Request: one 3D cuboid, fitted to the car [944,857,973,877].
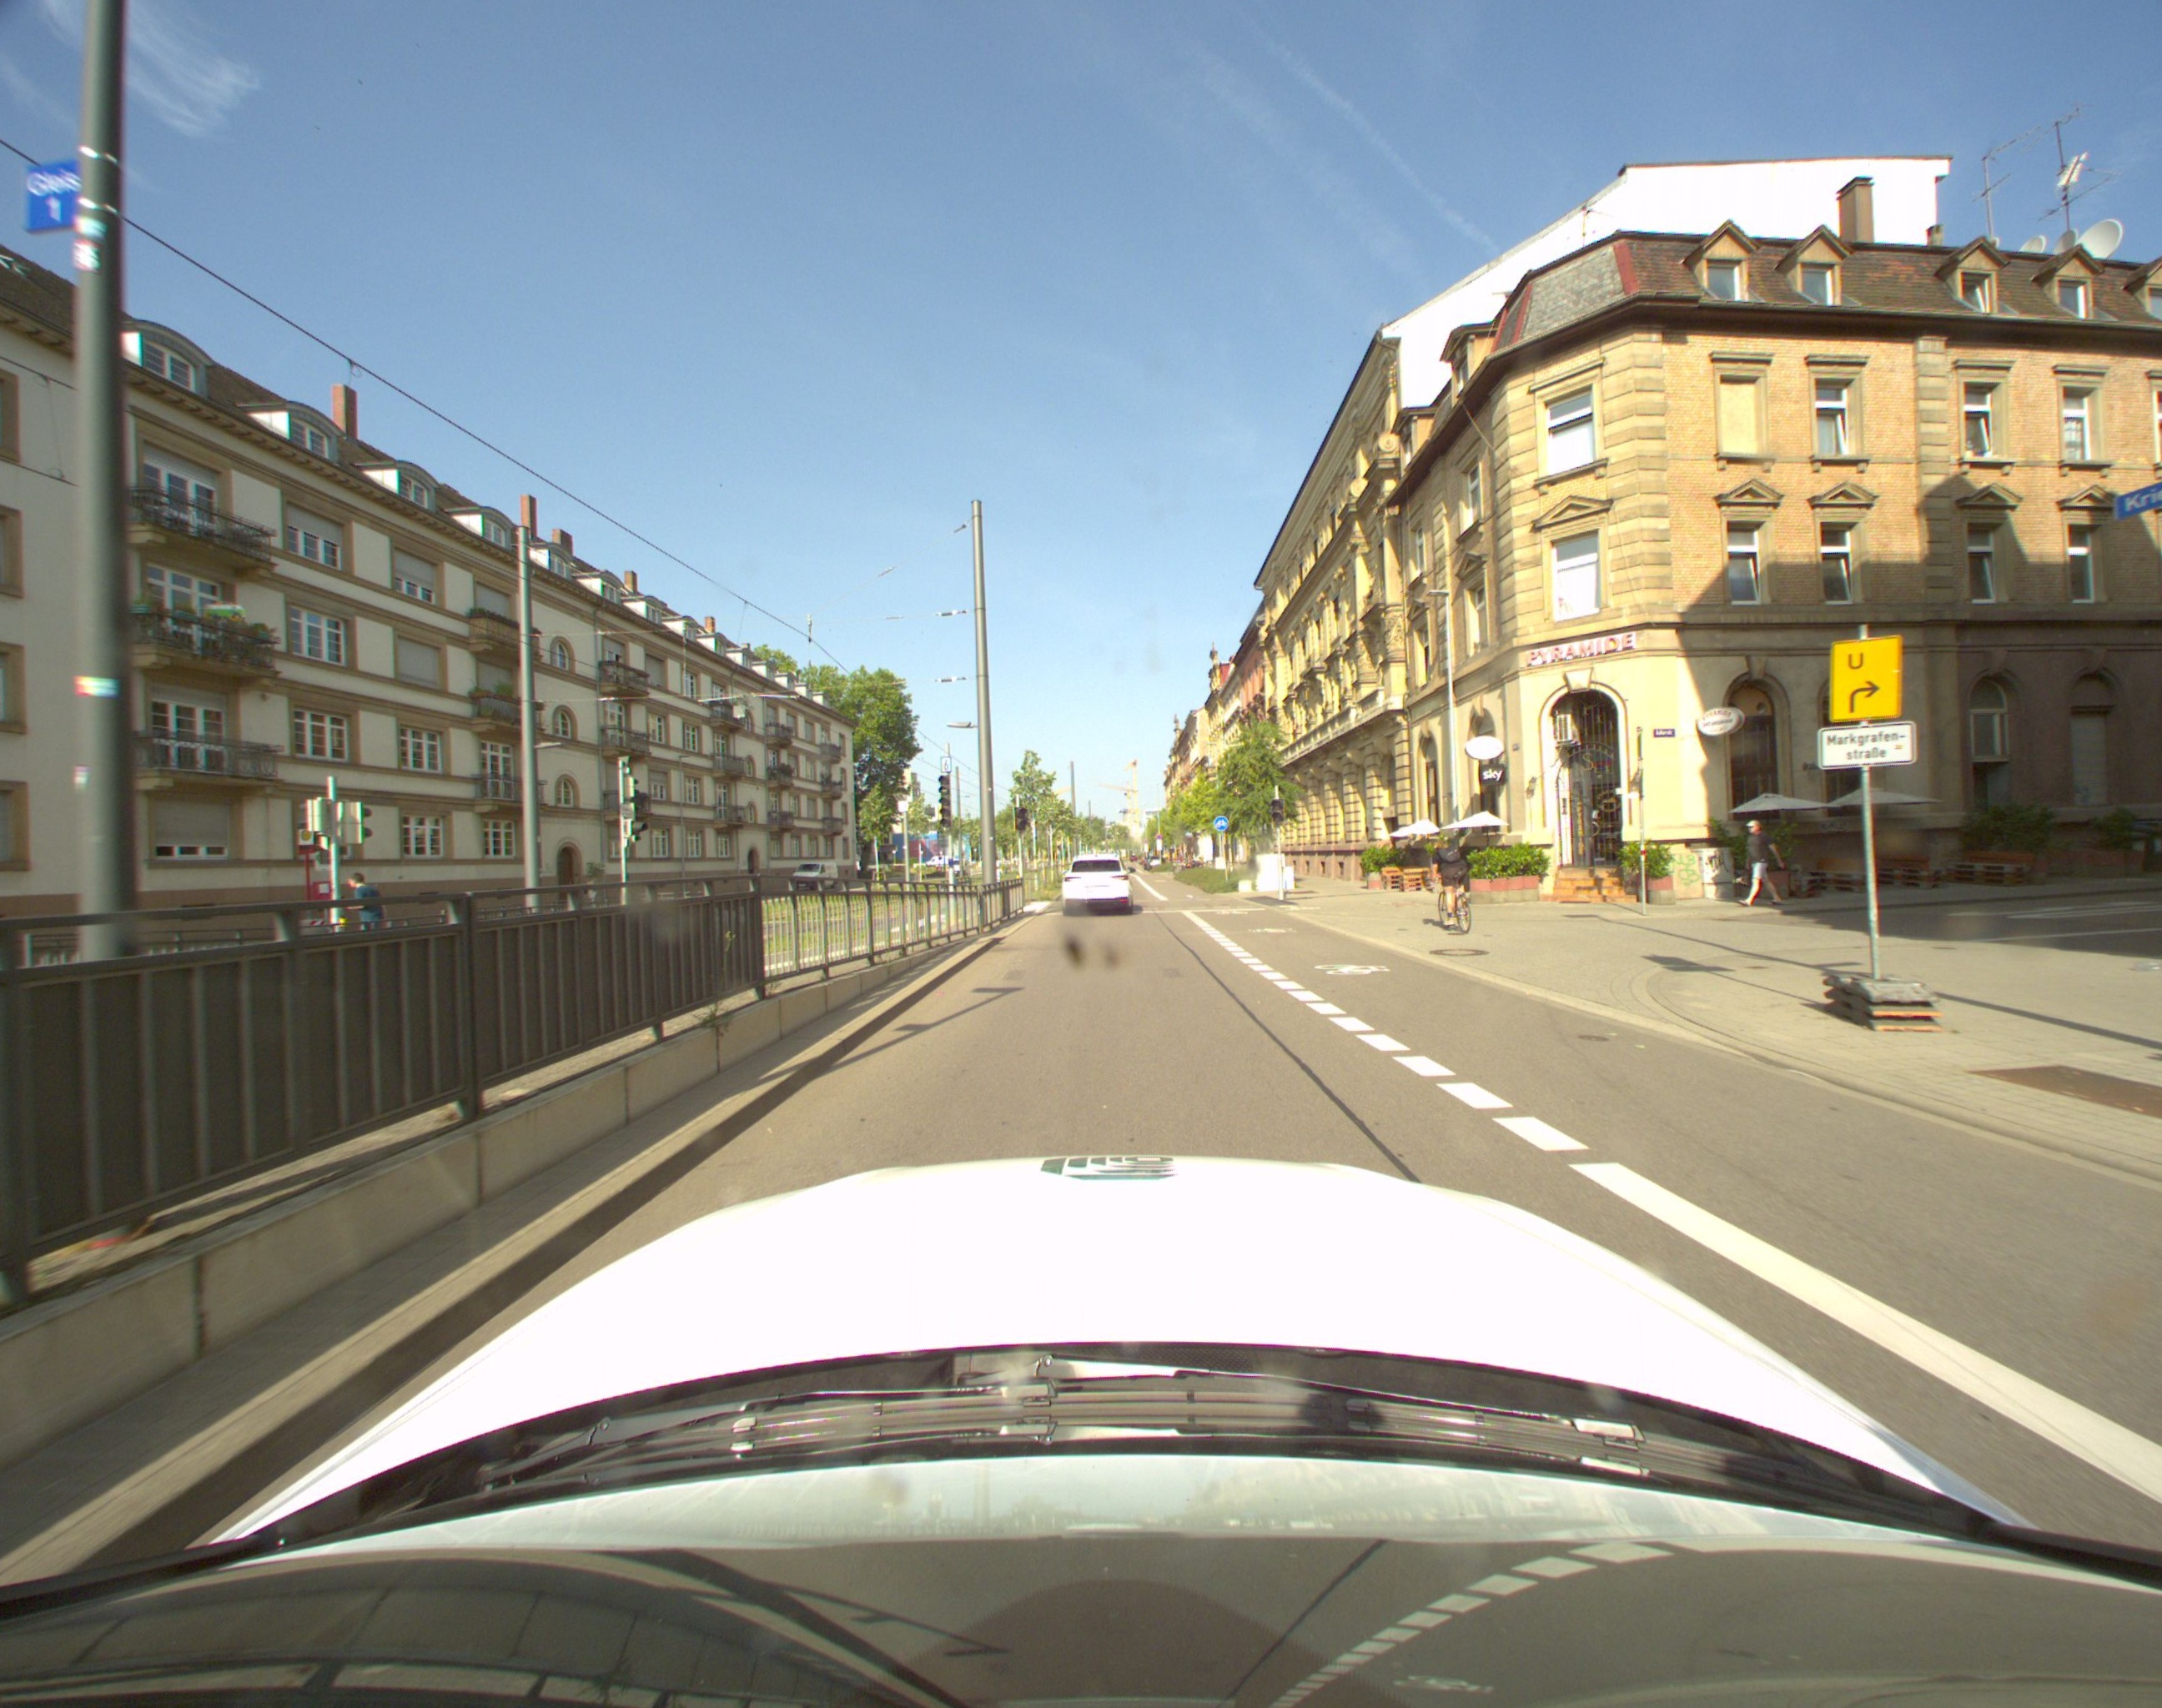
[{"bbox_3d":[-12.833,1.341,85.630,1.985,1.895,5.050,-3,0,3],"label":"car"}]

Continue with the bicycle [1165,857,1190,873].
[{"bbox_3d":[7.427,0.834,62.675,1.778,1.054,0.373,-4,0,0],"label":"bicycle"}]

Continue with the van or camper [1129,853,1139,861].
[{"bbox_3d":[11.533,0.681,177.908,1.986,1.655,4.002,-3,0,2],"label":"van or camper"}]

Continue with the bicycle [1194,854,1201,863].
[{"bbox_3d":[14.718,0.596,102.966,0.450,1.083,1.445,-2,0,-7],"label":"bicycle"}]

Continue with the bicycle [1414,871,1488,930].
[{"bbox_3d":[6.594,0.808,14.594,0.503,0.953,1.784,-1,0,0],"label":"bicycle"}]

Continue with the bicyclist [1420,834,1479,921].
[{"bbox_3d":[6.575,0.410,14.570,0.582,1.482,0.931,-1,-1,0],"label":"bicyclist"}]

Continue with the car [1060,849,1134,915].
[{"bbox_3d":[0.493,0.707,22.362,1.810,1.590,4.409,-2,0,2],"label":"car"}]

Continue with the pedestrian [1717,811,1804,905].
[{"bbox_3d":[13.797,0.065,16.563,0.859,1.806,0.993,-4,1,-2],"label":"pedestrian"}]

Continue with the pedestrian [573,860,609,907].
[{"bbox_3d":[-21.960,1.317,36.504,0.839,2.068,1.158,-1,0,3],"label":"pedestrian"}]

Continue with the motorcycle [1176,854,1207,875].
[{"bbox_3d":[7.771,0.723,57.265,2.048,1.287,0.698,-4,1,-31],"label":"motorcycle"}]

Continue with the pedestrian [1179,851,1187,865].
[{"bbox_3d":[13.287,0.497,105.950,0.821,1.696,0.792,-4,0,-2],"label":"pedestrian"}]

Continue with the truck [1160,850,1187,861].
[{"bbox_3d":[20.809,0.380,183.779,5.841,2.318,2.224,-2,0,5],"label":"truck"}]

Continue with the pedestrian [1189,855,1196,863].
[{"bbox_3d":[14.651,0.649,107.033,0.875,0.876,0.711,-4,0,-1],"label":"pedestrian"}]

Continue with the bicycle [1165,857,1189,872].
[{"bbox_3d":[7.448,0.838,63.093,1.778,1.054,0.373,-4,0,0],"label":"bicycle"}]

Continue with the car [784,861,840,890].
[{"bbox_3d":[-18.986,1.488,57.680,1.985,1.918,5.157,-1,0,3],"label":"car"}]

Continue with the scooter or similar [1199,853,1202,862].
[{"bbox_3d":[14.348,0.402,97.503,0.287,1.134,1.091,-2,0,8],"label":"scooter or similar"}]

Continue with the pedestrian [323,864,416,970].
[{"bbox_3d":[-13.326,1.150,15.293,1.073,1.867,0.857,-2,-1,-26],"label":"pedestrian"}]

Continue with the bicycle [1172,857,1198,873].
[{"bbox_3d":[7.841,0.823,61.426,1.803,1.096,0.671,-4,0,-3],"label":"bicycle"}]

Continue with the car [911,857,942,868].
[{"bbox_3d":[-36.570,2.076,192.379,6.895,2.638,2.498,0,-1,-19],"label":"car"}]

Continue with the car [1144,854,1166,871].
[{"bbox_3d":[7.593,0.863,84.247,1.764,1.588,4.246,-4,0,-1],"label":"car"}]
